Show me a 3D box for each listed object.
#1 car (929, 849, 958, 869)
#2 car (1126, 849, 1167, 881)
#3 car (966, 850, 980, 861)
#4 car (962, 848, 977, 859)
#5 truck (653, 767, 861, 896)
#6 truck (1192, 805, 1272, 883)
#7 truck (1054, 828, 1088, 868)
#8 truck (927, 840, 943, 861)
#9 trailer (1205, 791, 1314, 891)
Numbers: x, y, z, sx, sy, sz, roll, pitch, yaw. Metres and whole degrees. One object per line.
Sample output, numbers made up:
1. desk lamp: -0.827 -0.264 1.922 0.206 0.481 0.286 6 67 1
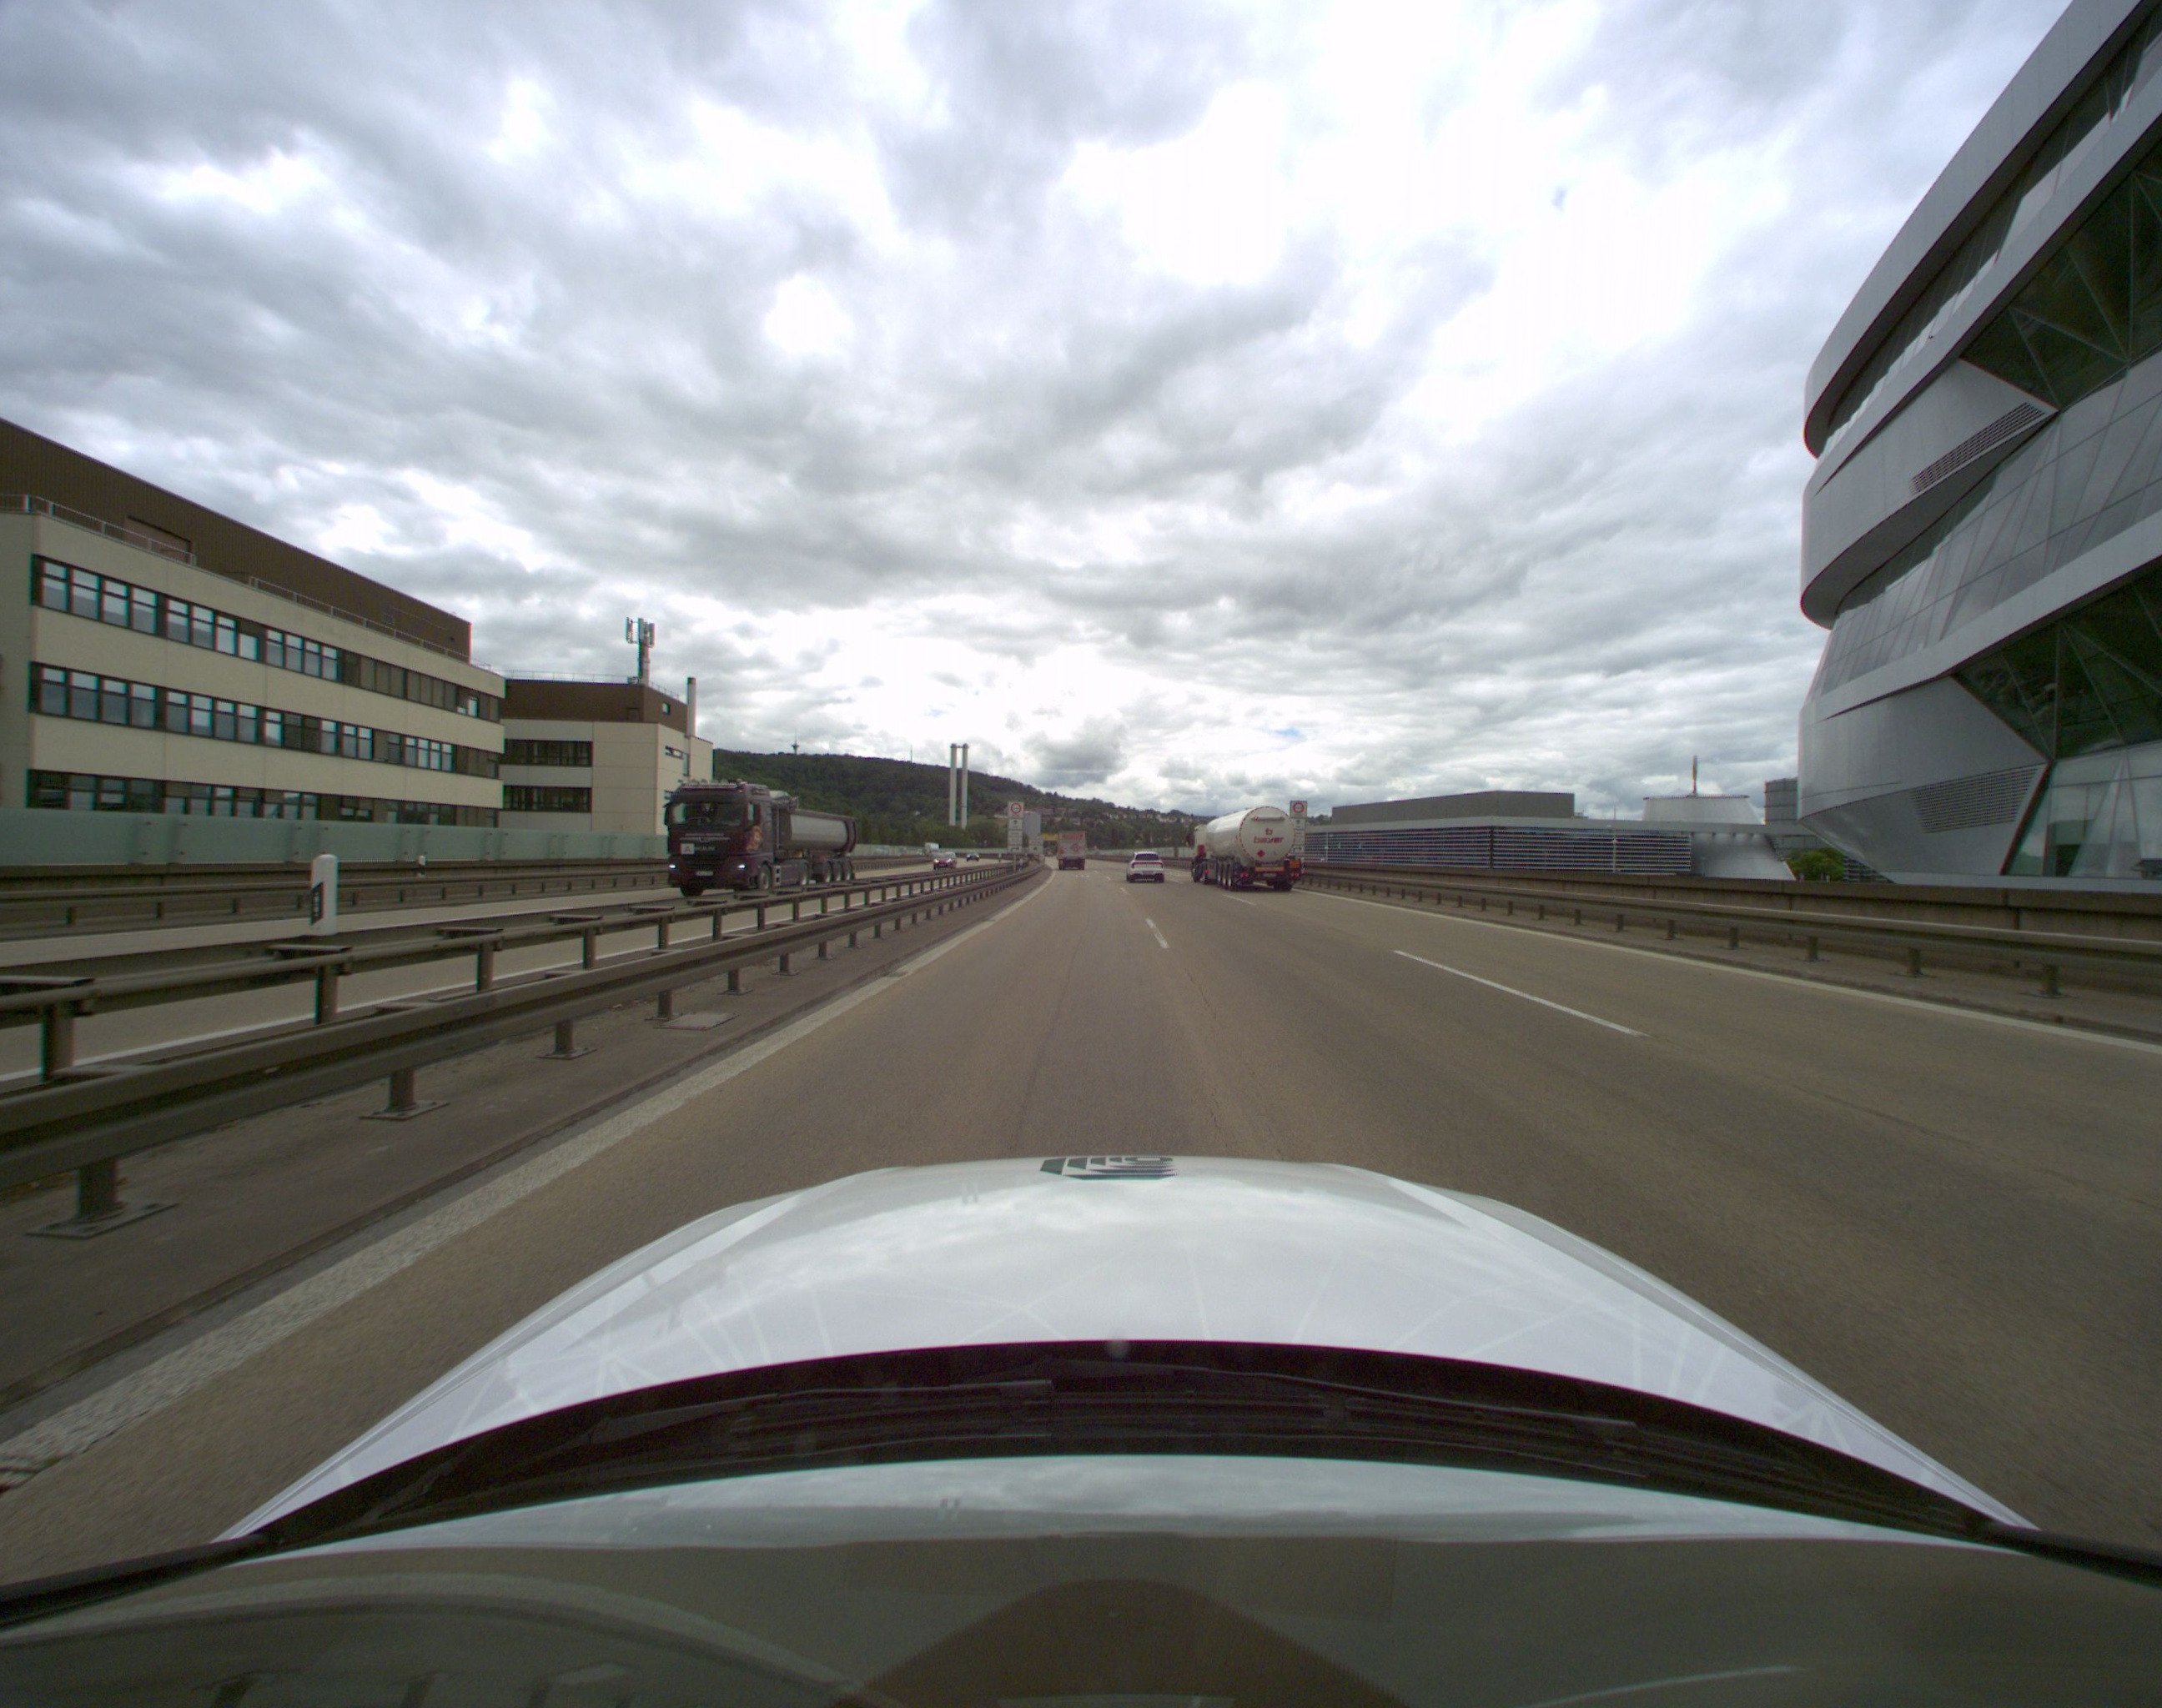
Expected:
1. car: -11.821 0.436 70.046 1.989 1.675 4.402 0 -1 -3
2. car: 3.563 0.587 44.806 1.986 1.675 4.409 0 -1 1
3. car: -17.235 0.268 129.897 1.990 1.675 4.401 -1 -1 -4
4. car: -17.403 -0.115 127.243 1.989 1.675 4.402 0 -1 -3
5. truck: -11.231 -0.626 30.177 2.801 3.809 12.019 0 -1 1
6. truck: 7.531 -0.455 41.515 3.003 3.657 6.274 0 -1 1
7. truck: -0.958 -0.507 78.305 3.048 3.691 8.301 0 -1 0
8. truck: -33.145 -0.685 185.445 3.053 4.562 8.286 0 -1 -6
9. trailer: 7.464 -0.470 35.316 3.046 3.790 8.304 0 -1 1
